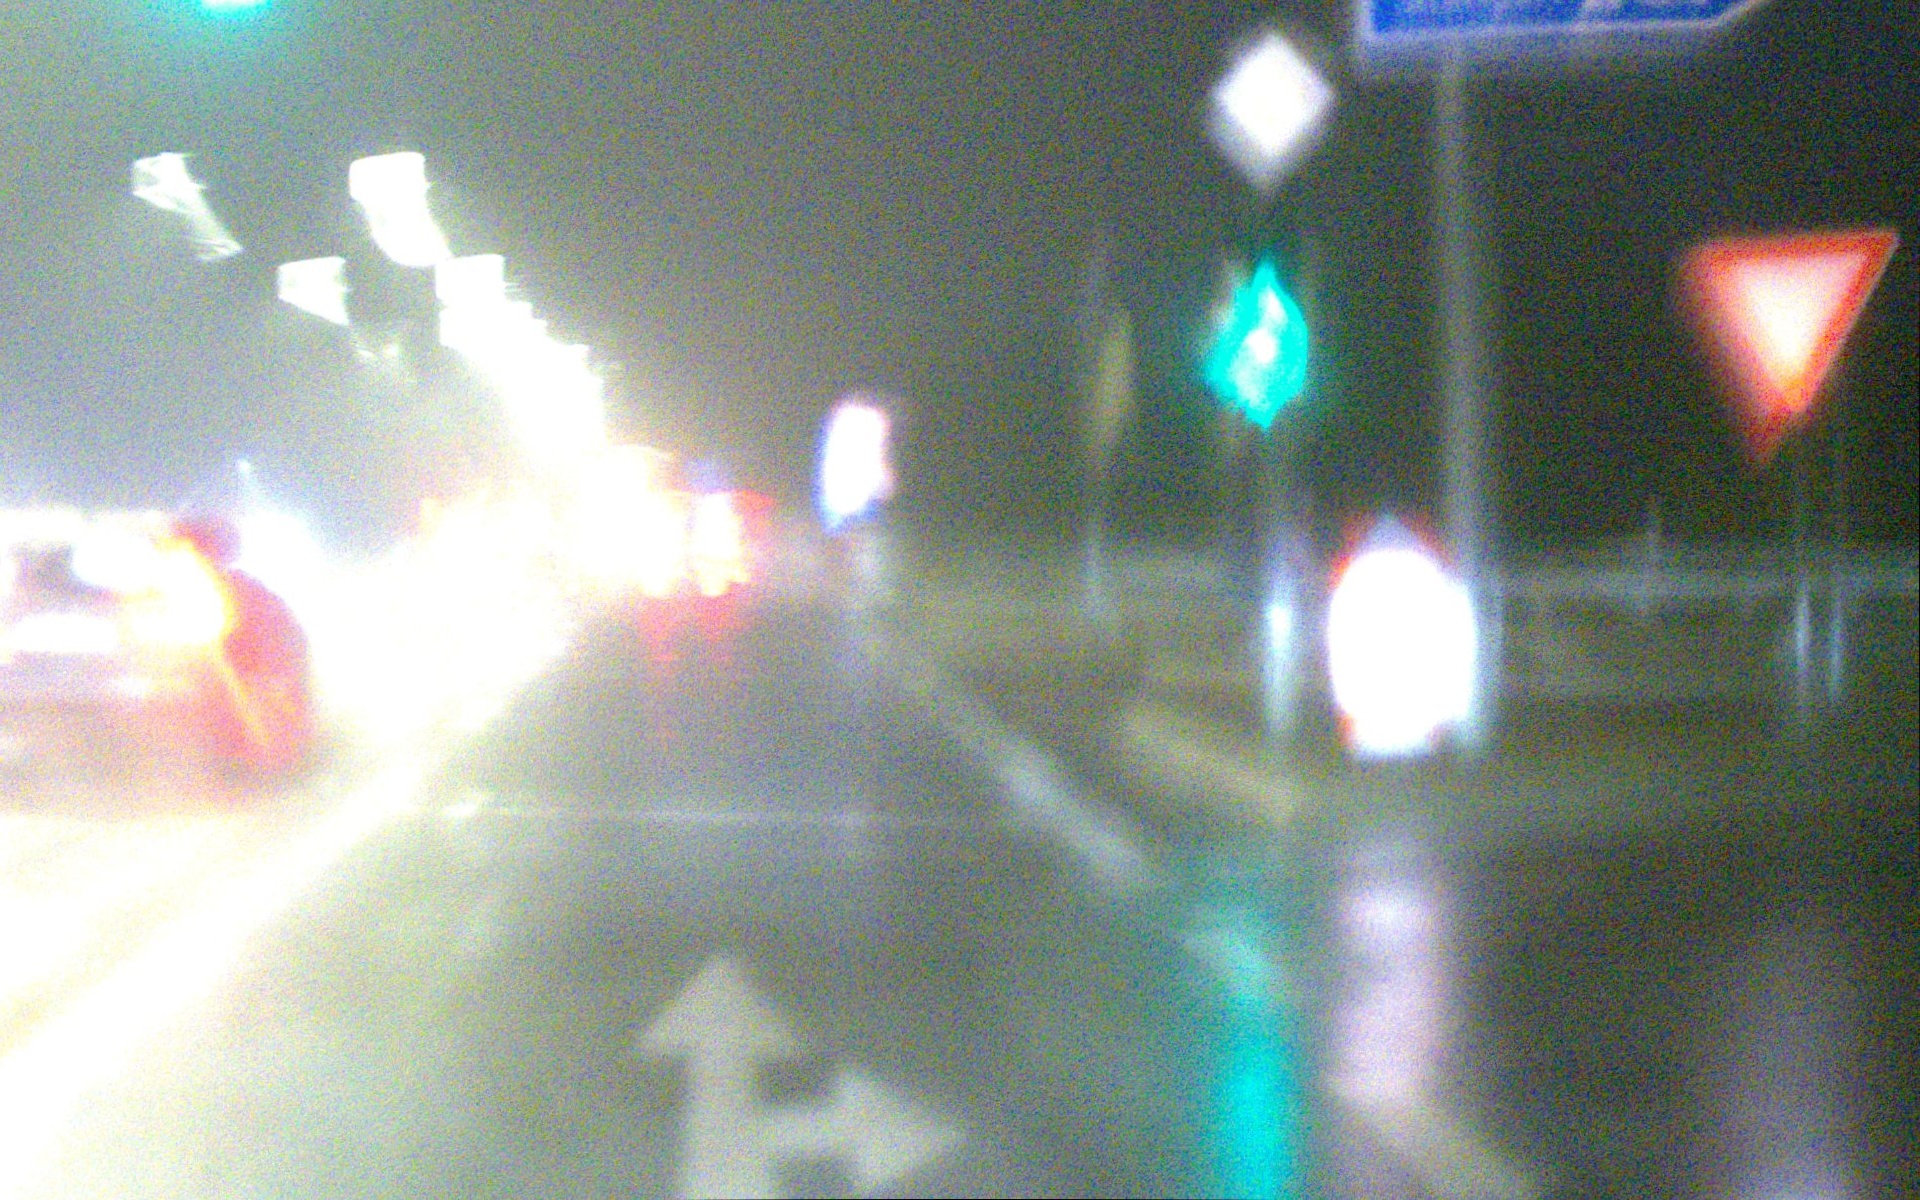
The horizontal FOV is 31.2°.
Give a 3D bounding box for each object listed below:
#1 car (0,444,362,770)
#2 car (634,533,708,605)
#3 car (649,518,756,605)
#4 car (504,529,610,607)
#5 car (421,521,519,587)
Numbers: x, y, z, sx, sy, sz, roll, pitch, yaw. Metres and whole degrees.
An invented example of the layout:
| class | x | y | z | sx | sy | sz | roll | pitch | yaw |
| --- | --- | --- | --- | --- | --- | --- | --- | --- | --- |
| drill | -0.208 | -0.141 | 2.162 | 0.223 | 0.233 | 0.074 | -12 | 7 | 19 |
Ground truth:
| class | x | y | z | sx | sy | sz | roll | pitch | yaw |
| --- | --- | --- | --- | --- | --- | --- | --- | --- | --- |
| car | -4.756 | -0.056 | 20.196 | 1.796 | 1.447 | 4.270 | 5 | 4 | -2 |
| car | -8.716 | -0.916 | 103.929 | 1.993 | 1.832 | 4.000 | 5 | -2 | -4 |
| car | -5.510 | -0.799 | 73.999 | 1.910 | 1.596 | 4.000 | 5 | -1 | 0 |
| car | -9.626 | -0.744 | 82.301 | 2.177 | 1.596 | 4.000 | 5 | -1 | -3 |
| car | -14.134 | -1.315 | 99.432 | 2.177 | 1.596 | 4.000 | 5 | -1 | 0 |
